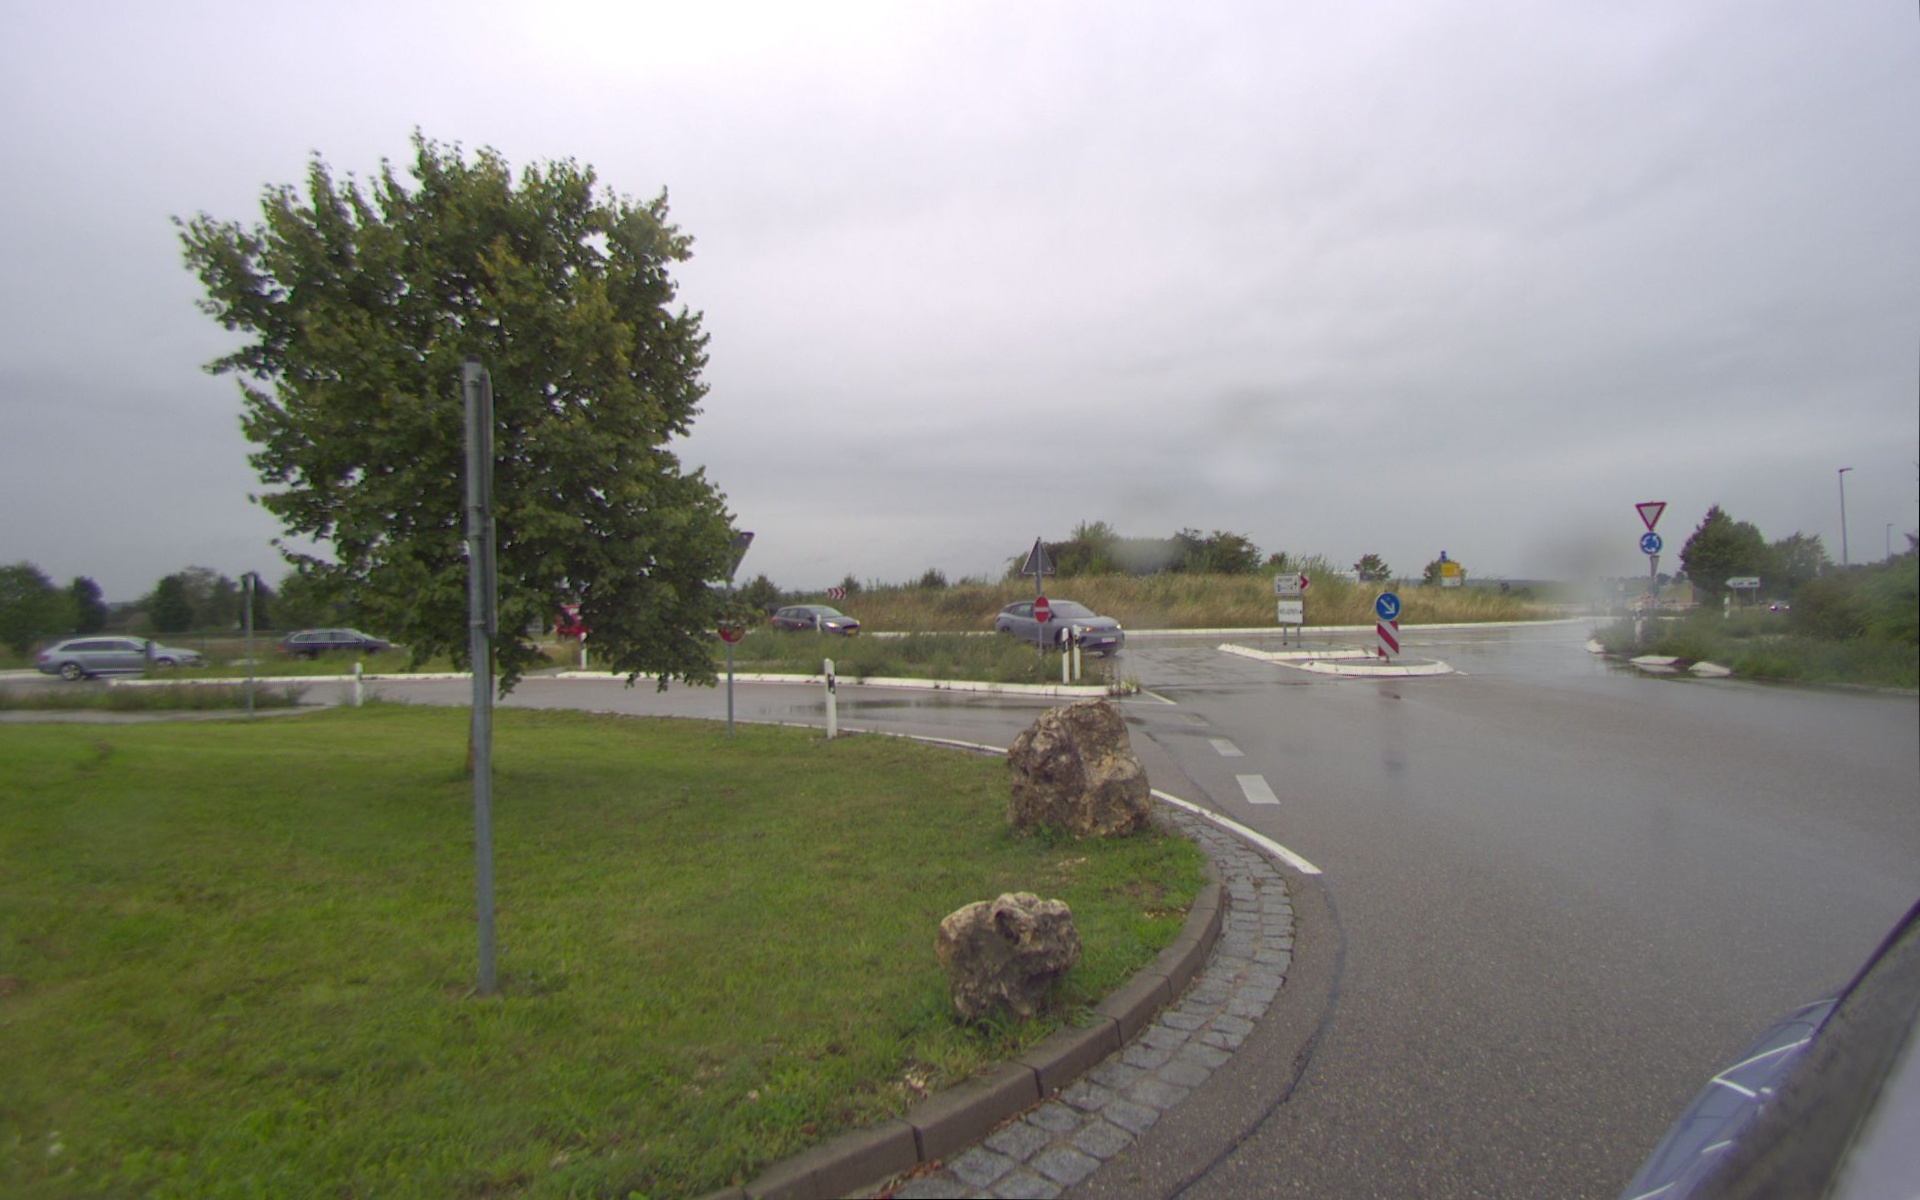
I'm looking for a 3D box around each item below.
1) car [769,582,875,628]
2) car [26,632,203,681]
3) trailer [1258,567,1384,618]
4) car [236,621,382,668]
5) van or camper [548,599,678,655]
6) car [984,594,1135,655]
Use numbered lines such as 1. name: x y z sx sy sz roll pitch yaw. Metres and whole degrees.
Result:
1. car: -5.546 0.204 40.540 3.974 1.609 1.804 -2 3 36
2. car: -30.981 2.035 37.262 4.565 1.500 2.004 -1 1 -22
3. trailer: 28.353 -0.536 79.826 8.830 3.661 3.051 -3 -2 45
4. car: -25.334 1.702 39.552 4.429 1.623 2.003 -2 -1 -19
5. van or camper: -14.195 1.065 41.631 4.748 2.038 2.004 -2 2 -8
6. car: 2.830 0.687 29.850 1.962 1.594 4.500 -2 1 -34
